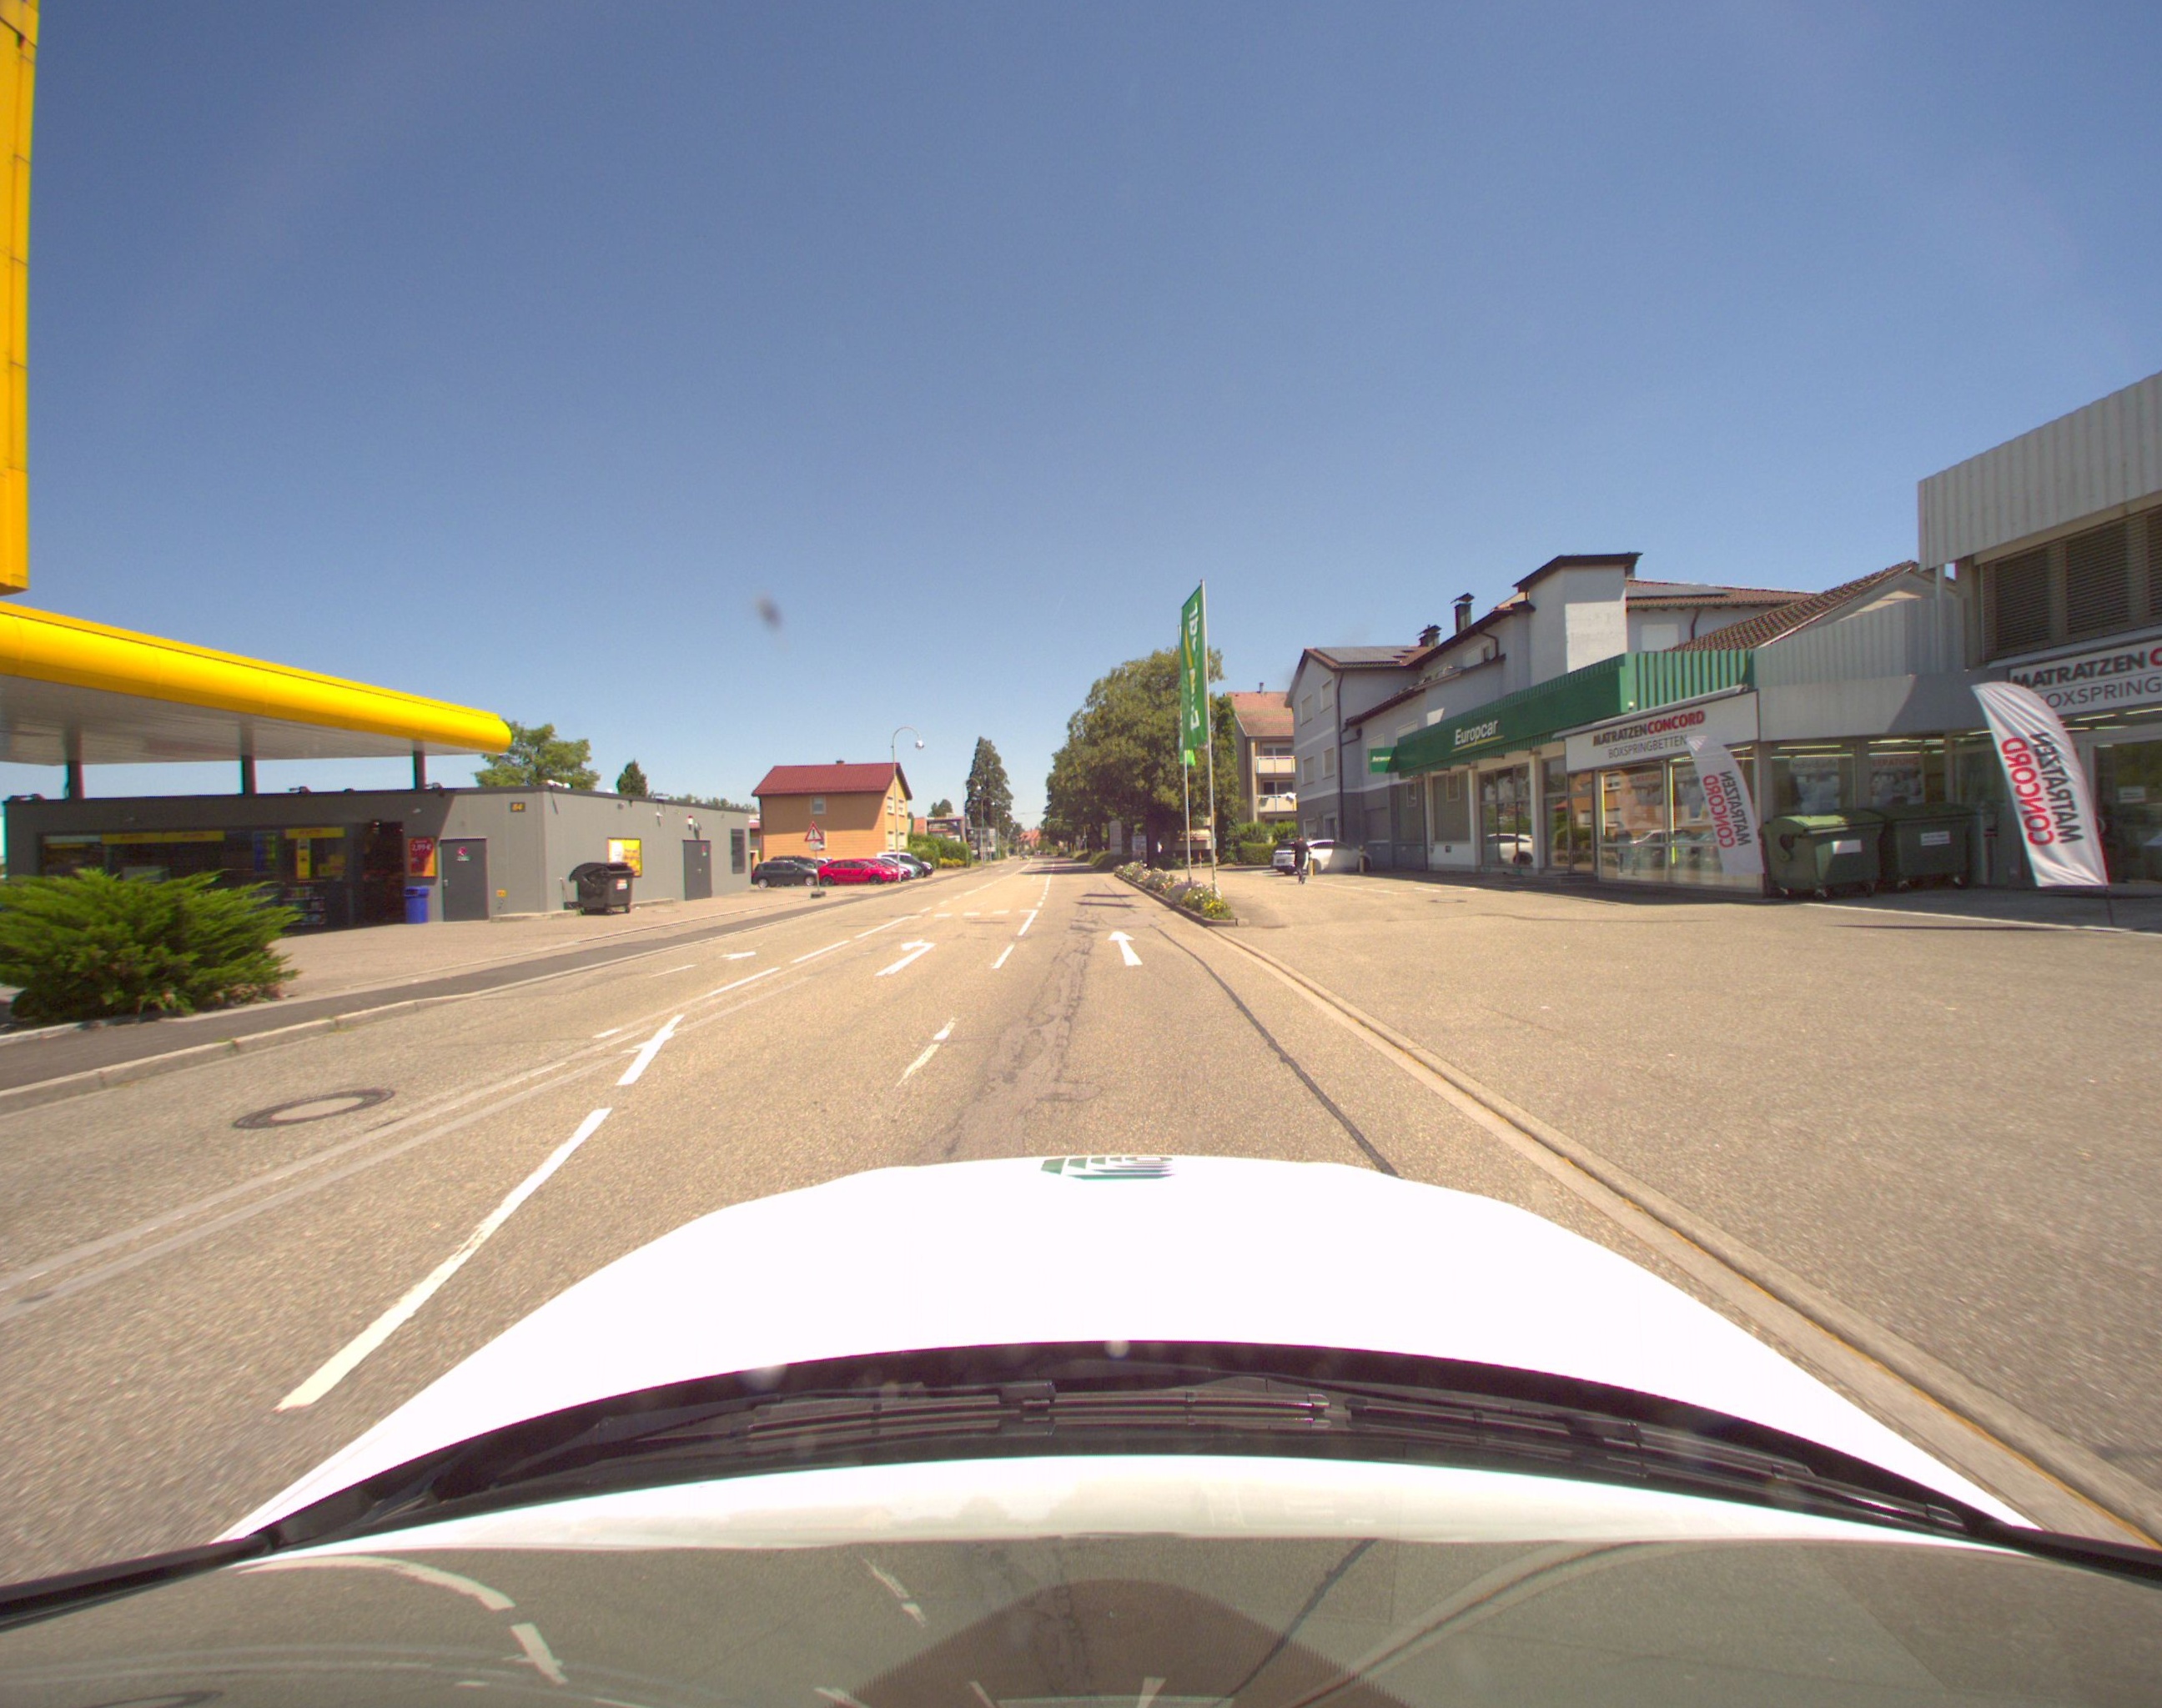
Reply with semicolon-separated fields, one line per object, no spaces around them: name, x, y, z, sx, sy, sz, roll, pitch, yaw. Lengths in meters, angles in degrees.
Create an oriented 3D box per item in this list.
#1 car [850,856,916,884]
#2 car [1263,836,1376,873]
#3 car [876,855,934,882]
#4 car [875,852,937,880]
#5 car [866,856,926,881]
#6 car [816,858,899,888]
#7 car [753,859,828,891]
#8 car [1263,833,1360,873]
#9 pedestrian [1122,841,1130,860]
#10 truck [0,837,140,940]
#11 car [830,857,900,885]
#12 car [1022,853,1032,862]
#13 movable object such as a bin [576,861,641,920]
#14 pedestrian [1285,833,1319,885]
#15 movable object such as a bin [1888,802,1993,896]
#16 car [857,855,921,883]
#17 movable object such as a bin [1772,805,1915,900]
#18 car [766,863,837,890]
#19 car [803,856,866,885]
car;-12.338;0.987;50.838;3.656;1.605;1.879;-2;0;-4
car;10.123;0.032;34.568;4.364;1.371;1.940;-2;0;-24
car;-12.365;0.995;57.361;3.656;1.672;1.920;-2;0;-4
car;-12.739;0.864;59.488;4.089;1.898;1.996;-2;0;-6
car;-12.498;0.979;55.131;3.656;1.531;1.920;-2;0;-4
car;-12.523;1.054;45.850;4.115;1.444;1.825;-2;0;-3
car;-16.978;1.203;47.707;3.657;1.709;1.890;-2;0;-4
car;10.864;-0.048;38.591;3.977;1.550;1.796;-4;0;-2
pedestrian;4.485;-0.347;81.979;0.701;1.914;0.660;-3;0;1
truck;-38.857;1.300;28.947;7.851;3.426;2.153;-2;0;-3
car;-12.718;0.981;48.146;3.656;1.457;1.890;-2;0;-4
car;-10.525;0.693;159.025;1.705;1.495;4.274;-2;1;-2
movable object such as a bin;-13.113;0.987;22.661;0.949;1.517;1.428;2;1;-1
pedestrian;7.356;0.164;27.098;0.836;1.641;1.011;-2;0;3
movable object such as a bin;14.178;-0.075;13.455;0.848;1.445;0.703;-5;-1;6
car;-12.464;0.965;53.023;3.656;1.581;1.920;-2;0;-4
movable object such as a bin;12.685;-0.028;13.589;1.555;1.422;0.703;-5;0;6
car;-17.033;1.335;49.827;3.656;1.457;1.890;-2;0;-4
car;-16.574;1.106;54.967;3.656;1.776;1.920;-2;0;-4
